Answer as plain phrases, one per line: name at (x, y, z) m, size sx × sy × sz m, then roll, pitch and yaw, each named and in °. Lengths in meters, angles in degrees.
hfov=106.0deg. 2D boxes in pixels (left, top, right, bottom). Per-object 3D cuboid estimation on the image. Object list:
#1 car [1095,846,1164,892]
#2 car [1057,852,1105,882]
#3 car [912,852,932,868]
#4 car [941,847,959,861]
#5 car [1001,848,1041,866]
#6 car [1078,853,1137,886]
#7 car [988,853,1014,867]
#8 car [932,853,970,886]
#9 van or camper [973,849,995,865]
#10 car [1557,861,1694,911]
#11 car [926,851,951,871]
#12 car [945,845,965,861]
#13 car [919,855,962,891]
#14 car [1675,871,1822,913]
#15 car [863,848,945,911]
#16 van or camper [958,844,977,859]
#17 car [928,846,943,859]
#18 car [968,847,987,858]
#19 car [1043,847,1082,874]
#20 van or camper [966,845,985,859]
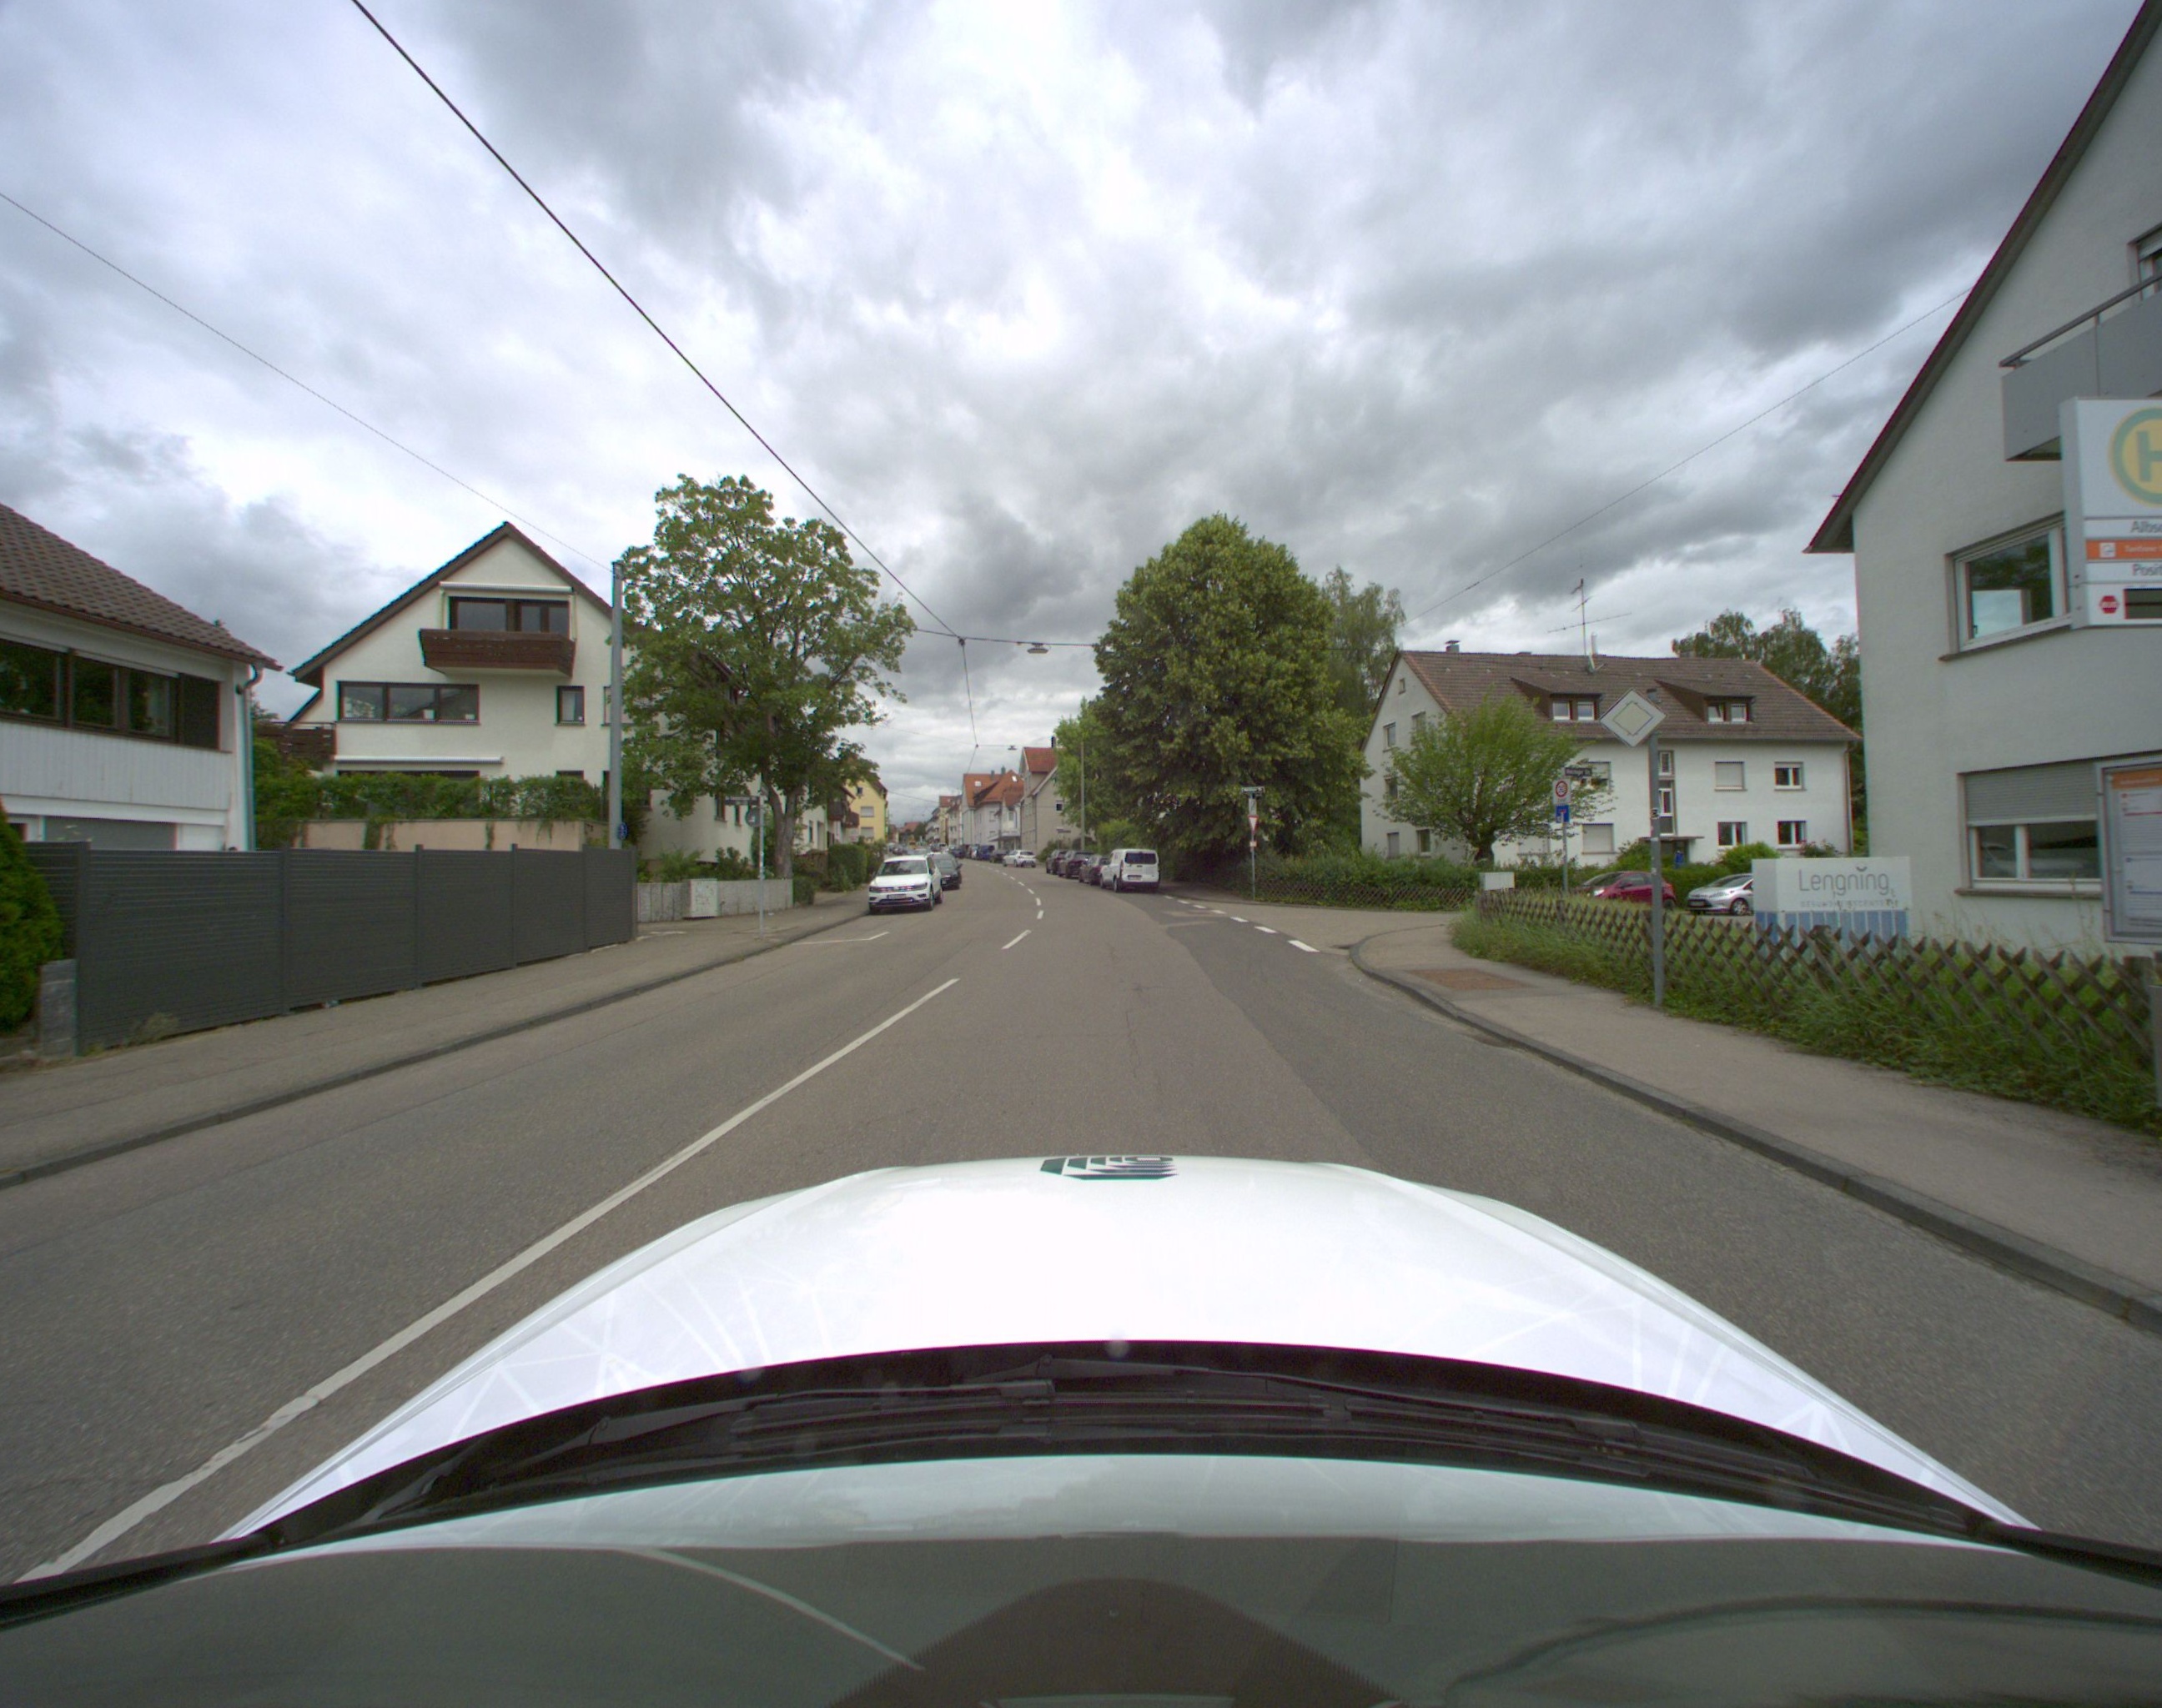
car at (1.961, 0.597, 34.504) m, size 1.839 × 1.774 × 4.300 m, roll 2°, pitch 0°, yaw -12°
car at (-0.062, 0.724, 46.671) m, size 1.994 × 1.615 × 4.523 m, roll 1°, pitch 0°, yaw -10°
car at (-17.577, 0.612, 90.120) m, size 1.832 × 1.578 × 4.021 m, roll -4°, pitch 1°, yaw -8°
car at (-19.374, -0.043, 120.190) m, size 2.156 × 2.013 × 3.979 m, roll 1°, pitch 0°, yaw -16°
car at (-5.012, 0.250, 67.721) m, size 1.951 × 1.439 × 3.965 m, roll 0°, pitch 1°, yaw -27°
car at (1.225, 0.720, 39.933) m, size 1.994 × 1.478 × 4.603 m, roll -1°, pitch 0°, yaw -10°
car at (-8.742, 0.624, 88.460) m, size 1.997 × 1.517 × 4.867 m, roll 1°, pitch 0°, yaw -15°
car at (-6.796, 0.766, 42.367) m, size 1.763 × 1.438 × 4.064 m, roll -5°, pitch 1°, yaw -10°
van or camper at (-11.883, 0.306, 99.288) m, size 1.930 × 1.925 × 4.805 m, roll 0°, pitch 0°, yaw -15°
car at (17.997, 1.091, 26.956) m, size 3.702 × 1.564 × 1.679 m, roll 1°, pitch -4°, yaw -14°
car at (-11.568, 0.578, 66.110) m, size 1.728 × 1.458 × 3.882 m, roll -4°, pitch 1°, yaw -12°
car at (-16.448, -0.087, 106.075) m, size 2.156 × 2.013 × 3.979 m, roll 1°, pitch 0°, yaw -16°
car at (-6.476, 0.822, 37.469) m, size 1.763 × 1.438 × 4.063 m, roll -3°, pitch 1°, yaw -11°
car at (22.668, 1.293, 27.722) m, size 3.725 × 1.369 × 1.839 m, roll 1°, pitch -2°, yaw -8°
car at (-5.427, 0.723, 25.497) m, size 1.846 × 1.714 × 4.567 m, roll -2°, pitch 0°, yaw -5°
van or camper at (-16.547, -0.367, 118.408) m, size 1.997 × 2.065 × 5.915 m, roll 2°, pitch 0°, yaw -15°
car at (-24.253, -0.237, 135.908) m, size 2.156 × 2.013 × 3.979 m, roll 1°, pitch 0°, yaw -16°
car at (-13.272, -0.224, 104.424) m, size 1.717 × 1.436 × 4.615 m, roll 1°, pitch 0°, yaw -15°
car at (-1.259, 0.388, 52.289) m, size 1.811 × 1.615 × 4.523 m, roll 1°, pitch 0°, yaw -10°
van or camper at (-14.347, -0.266, 110.815) m, size 1.874 × 1.828 × 4.656 m, roll 2°, pitch 0°, yaw -15°
